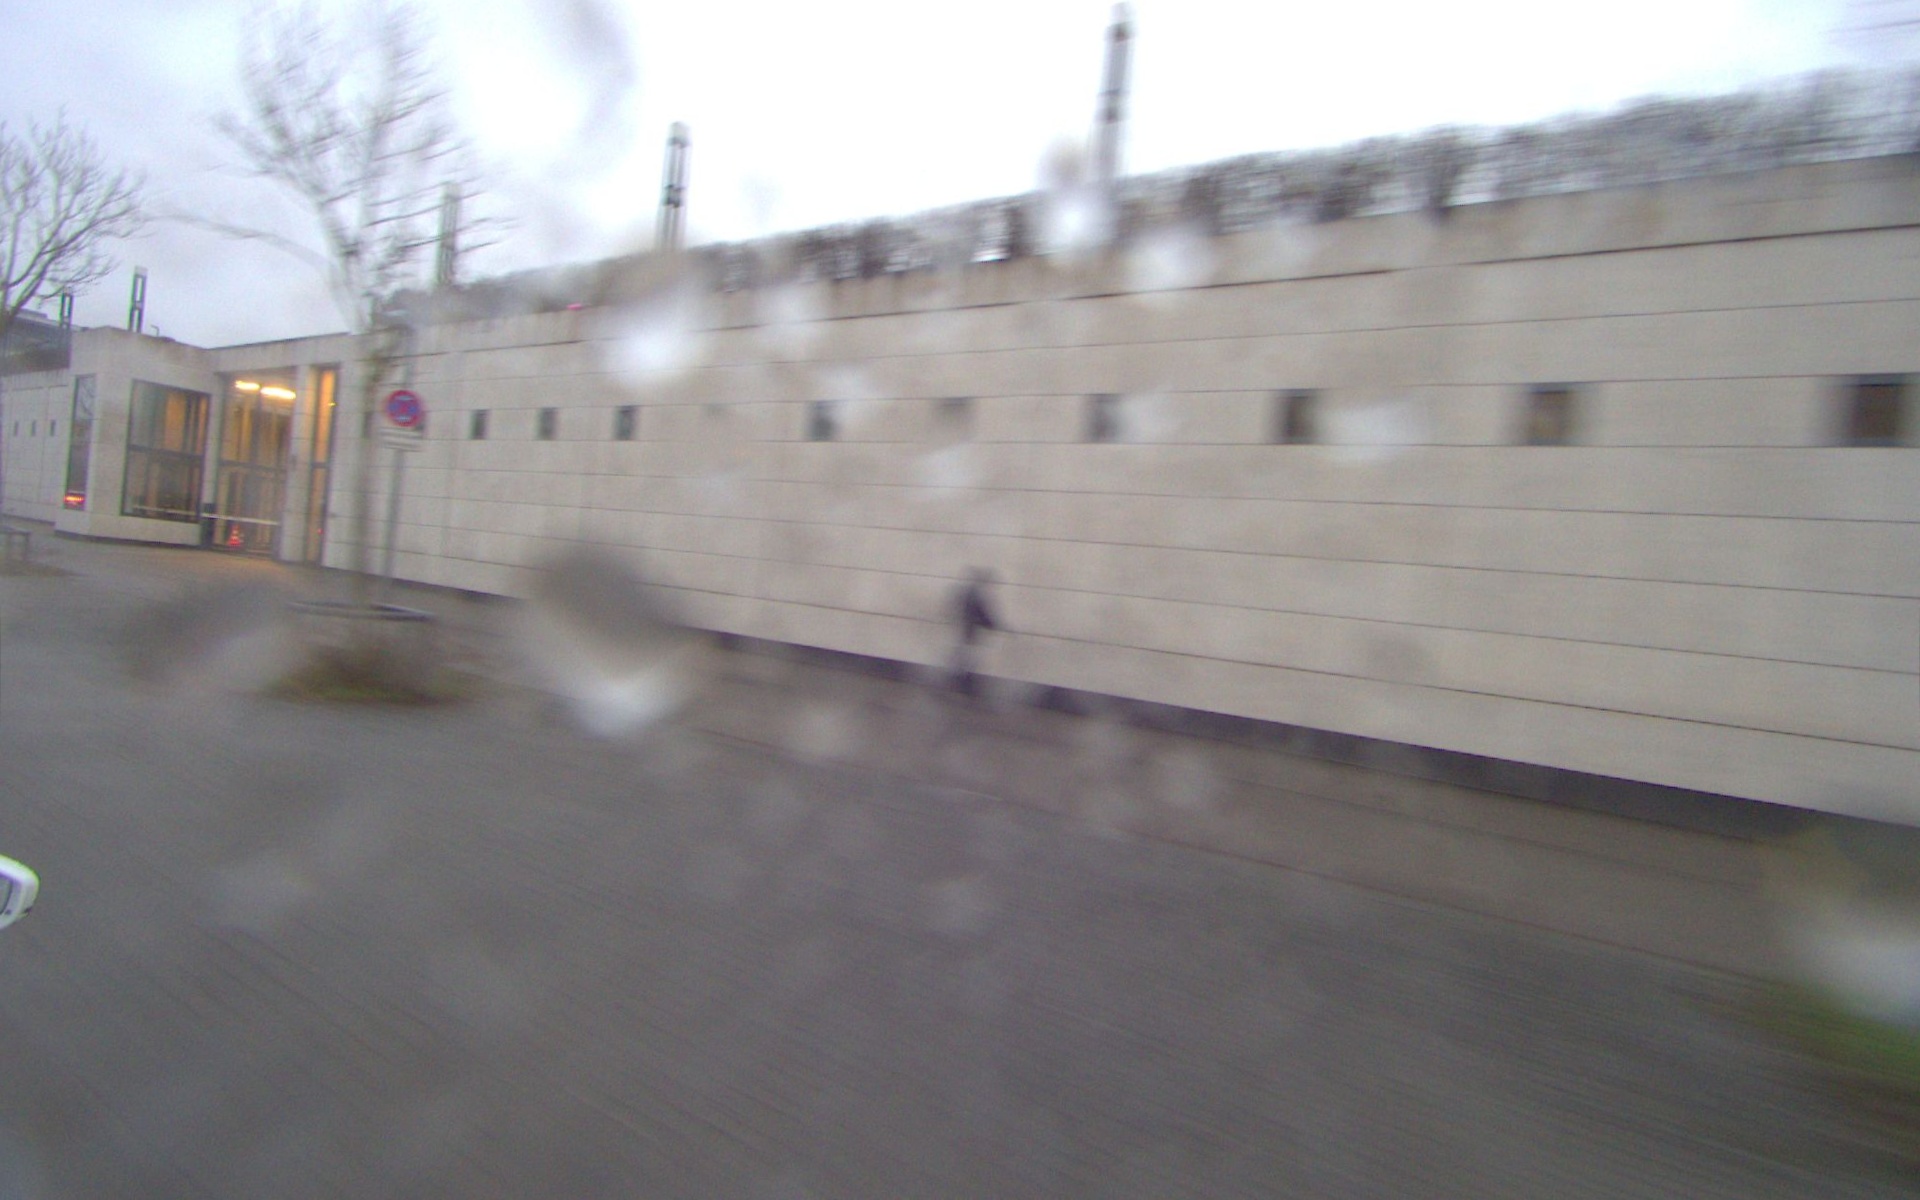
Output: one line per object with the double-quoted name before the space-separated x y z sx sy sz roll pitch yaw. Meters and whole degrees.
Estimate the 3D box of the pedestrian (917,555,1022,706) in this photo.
"pedestrian" 0.119 0.360 11.817 0.683 1.638 0.938 7 1 31
